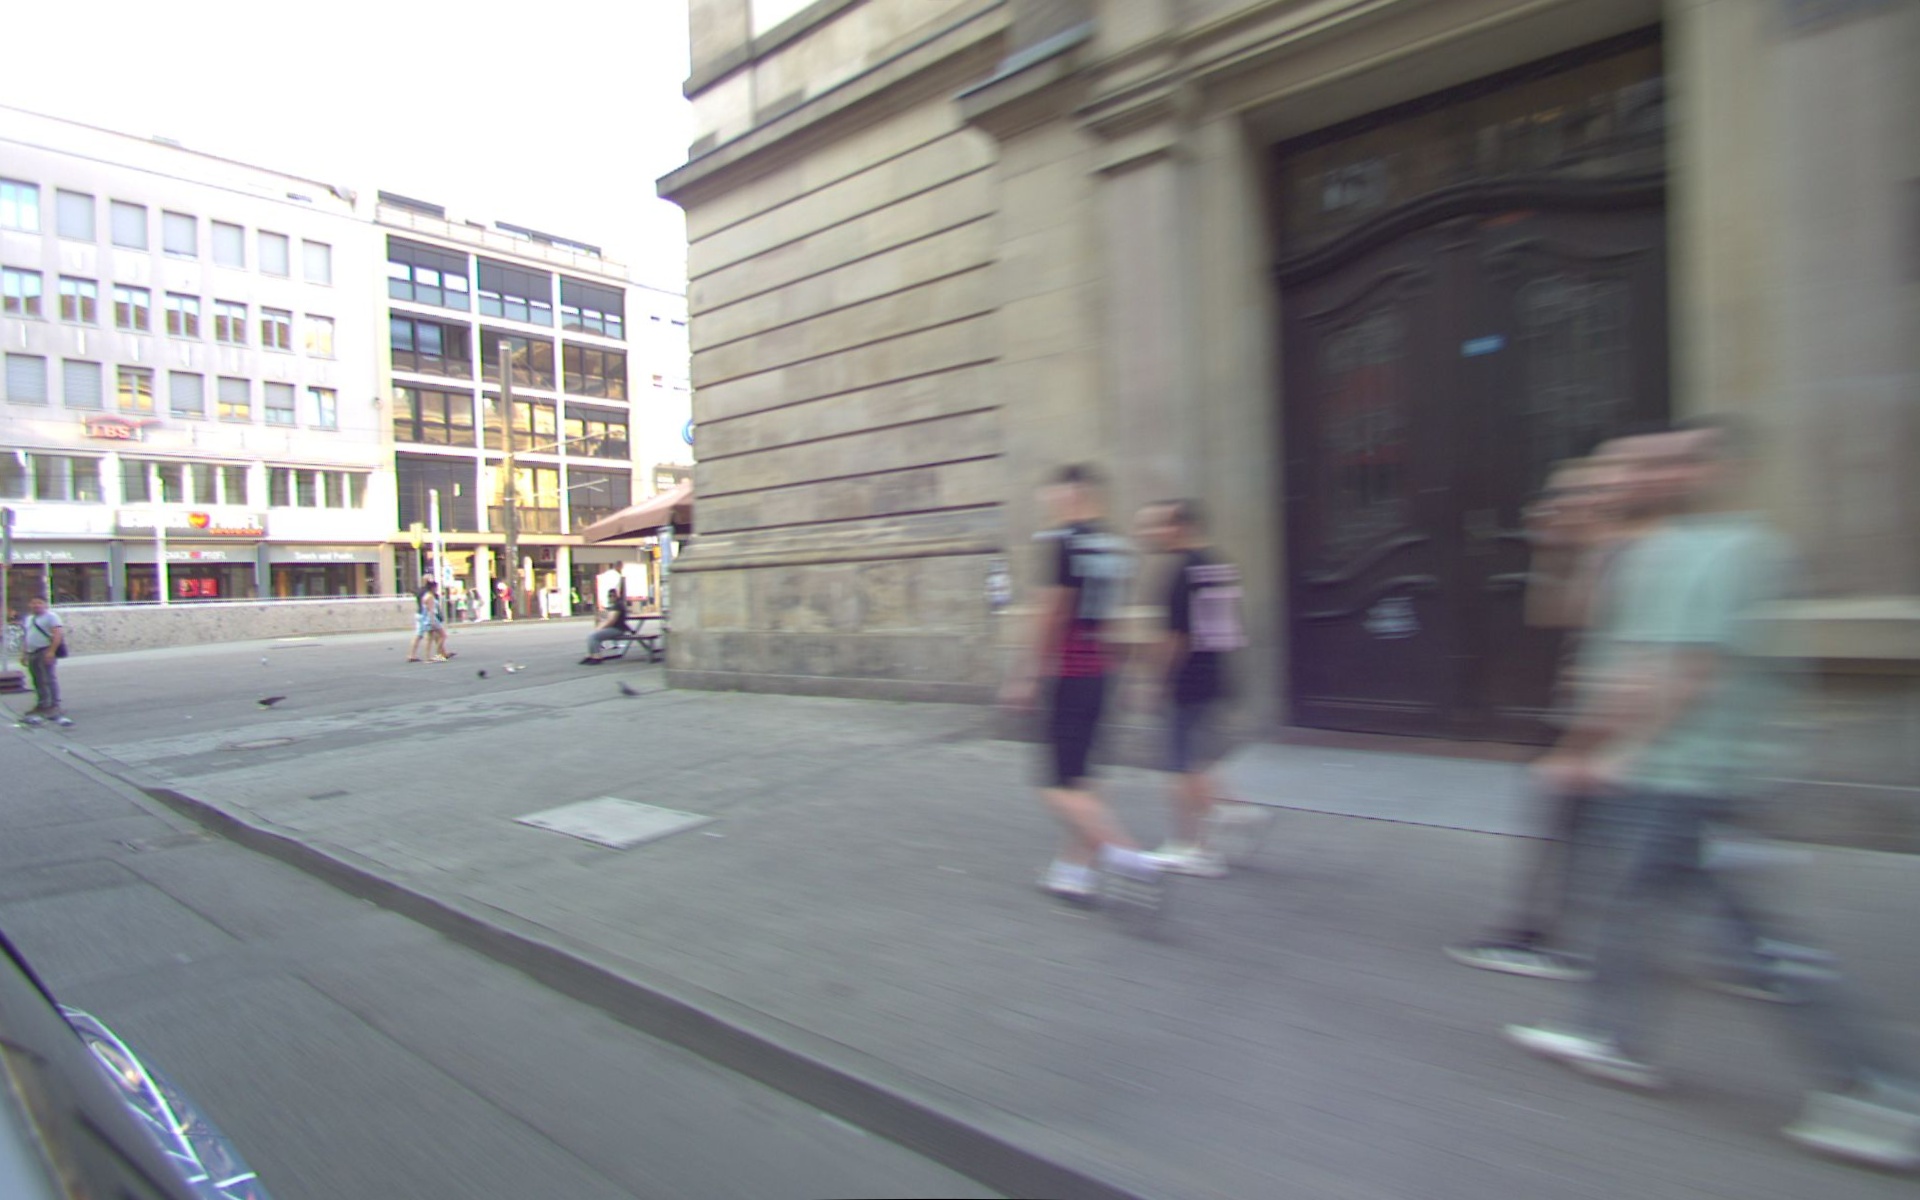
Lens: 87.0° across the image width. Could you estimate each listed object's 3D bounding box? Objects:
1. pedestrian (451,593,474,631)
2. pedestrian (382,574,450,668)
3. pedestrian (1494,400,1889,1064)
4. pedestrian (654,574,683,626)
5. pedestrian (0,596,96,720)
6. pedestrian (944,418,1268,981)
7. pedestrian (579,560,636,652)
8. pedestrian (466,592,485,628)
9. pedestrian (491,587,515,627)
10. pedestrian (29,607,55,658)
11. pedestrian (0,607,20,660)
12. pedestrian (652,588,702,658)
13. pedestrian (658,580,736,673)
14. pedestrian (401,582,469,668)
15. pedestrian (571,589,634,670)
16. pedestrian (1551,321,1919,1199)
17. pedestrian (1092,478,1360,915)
[{"bbox_3d":[-22.714,0.533,46.197,0.617,1.665,0.668,-2,1,9],"label":"pedestrian"},{"bbox_3d":[-10.812,0.405,20.130,0.742,1.774,0.853,-1,2,32],"label":"pedestrian"},{"bbox_3d":[2.239,0.319,3.095,0.858,1.680,0.721,-1,4,43],"label":"pedestrian"},{"bbox_3d":[-10.149,0.006,35.235,0.676,1.775,0.801,-1,0,-39],"label":"pedestrian"},{"bbox_3d":[-12.730,0.786,14.079,0.734,1.672,0.752,-2,0,5],"label":"pedestrian"},{"bbox_3d":[0.549,0.308,3.855,0.708,1.843,0.871,-6,4,-42],"label":"pedestrian"},{"bbox_3d":[-6.995,0.118,20.108,0.797,1.775,0.680,-2,0,30],"label":"pedestrian"},{"bbox_3d":[-22.027,0.466,46.052,0.488,1.598,0.570,-2,1,8],"label":"pedestrian"},{"bbox_3d":[-20.099,0.321,44.494,0.699,1.721,0.681,-3,1,-45],"label":"pedestrian"},{"bbox_3d":[-31.618,1.105,34.845,0.558,1.721,0.539,-1,1,41],"label":"pedestrian"},{"bbox_3d":[-31.995,1.115,33.969,0.558,1.721,0.539,-1,1,41],"label":"pedestrian"},{"bbox_3d":[-5.113,0.408,18.312,0.637,1.199,0.559,-3,2,5],"label":"pedestrian"},{"bbox_3d":[-3.947,0.377,15.186,0.850,1.281,0.752,-6,3,-31],"label":"pedestrian"},{"bbox_3d":[-10.276,0.481,19.811,0.736,1.602,0.856,-1,2,32],"label":"pedestrian"},{"bbox_3d":[-6.120,0.490,17.304,0.766,1.283,0.789,-5,3,-33],"label":"pedestrian"},{"bbox_3d":[1.923,0.336,2.274,0.839,1.754,0.718,-1,4,43],"label":"pedestrian"},{"bbox_3d":[1.145,0.344,4.345,0.747,1.654,0.749,-6,4,-42],"label":"pedestrian"}]
